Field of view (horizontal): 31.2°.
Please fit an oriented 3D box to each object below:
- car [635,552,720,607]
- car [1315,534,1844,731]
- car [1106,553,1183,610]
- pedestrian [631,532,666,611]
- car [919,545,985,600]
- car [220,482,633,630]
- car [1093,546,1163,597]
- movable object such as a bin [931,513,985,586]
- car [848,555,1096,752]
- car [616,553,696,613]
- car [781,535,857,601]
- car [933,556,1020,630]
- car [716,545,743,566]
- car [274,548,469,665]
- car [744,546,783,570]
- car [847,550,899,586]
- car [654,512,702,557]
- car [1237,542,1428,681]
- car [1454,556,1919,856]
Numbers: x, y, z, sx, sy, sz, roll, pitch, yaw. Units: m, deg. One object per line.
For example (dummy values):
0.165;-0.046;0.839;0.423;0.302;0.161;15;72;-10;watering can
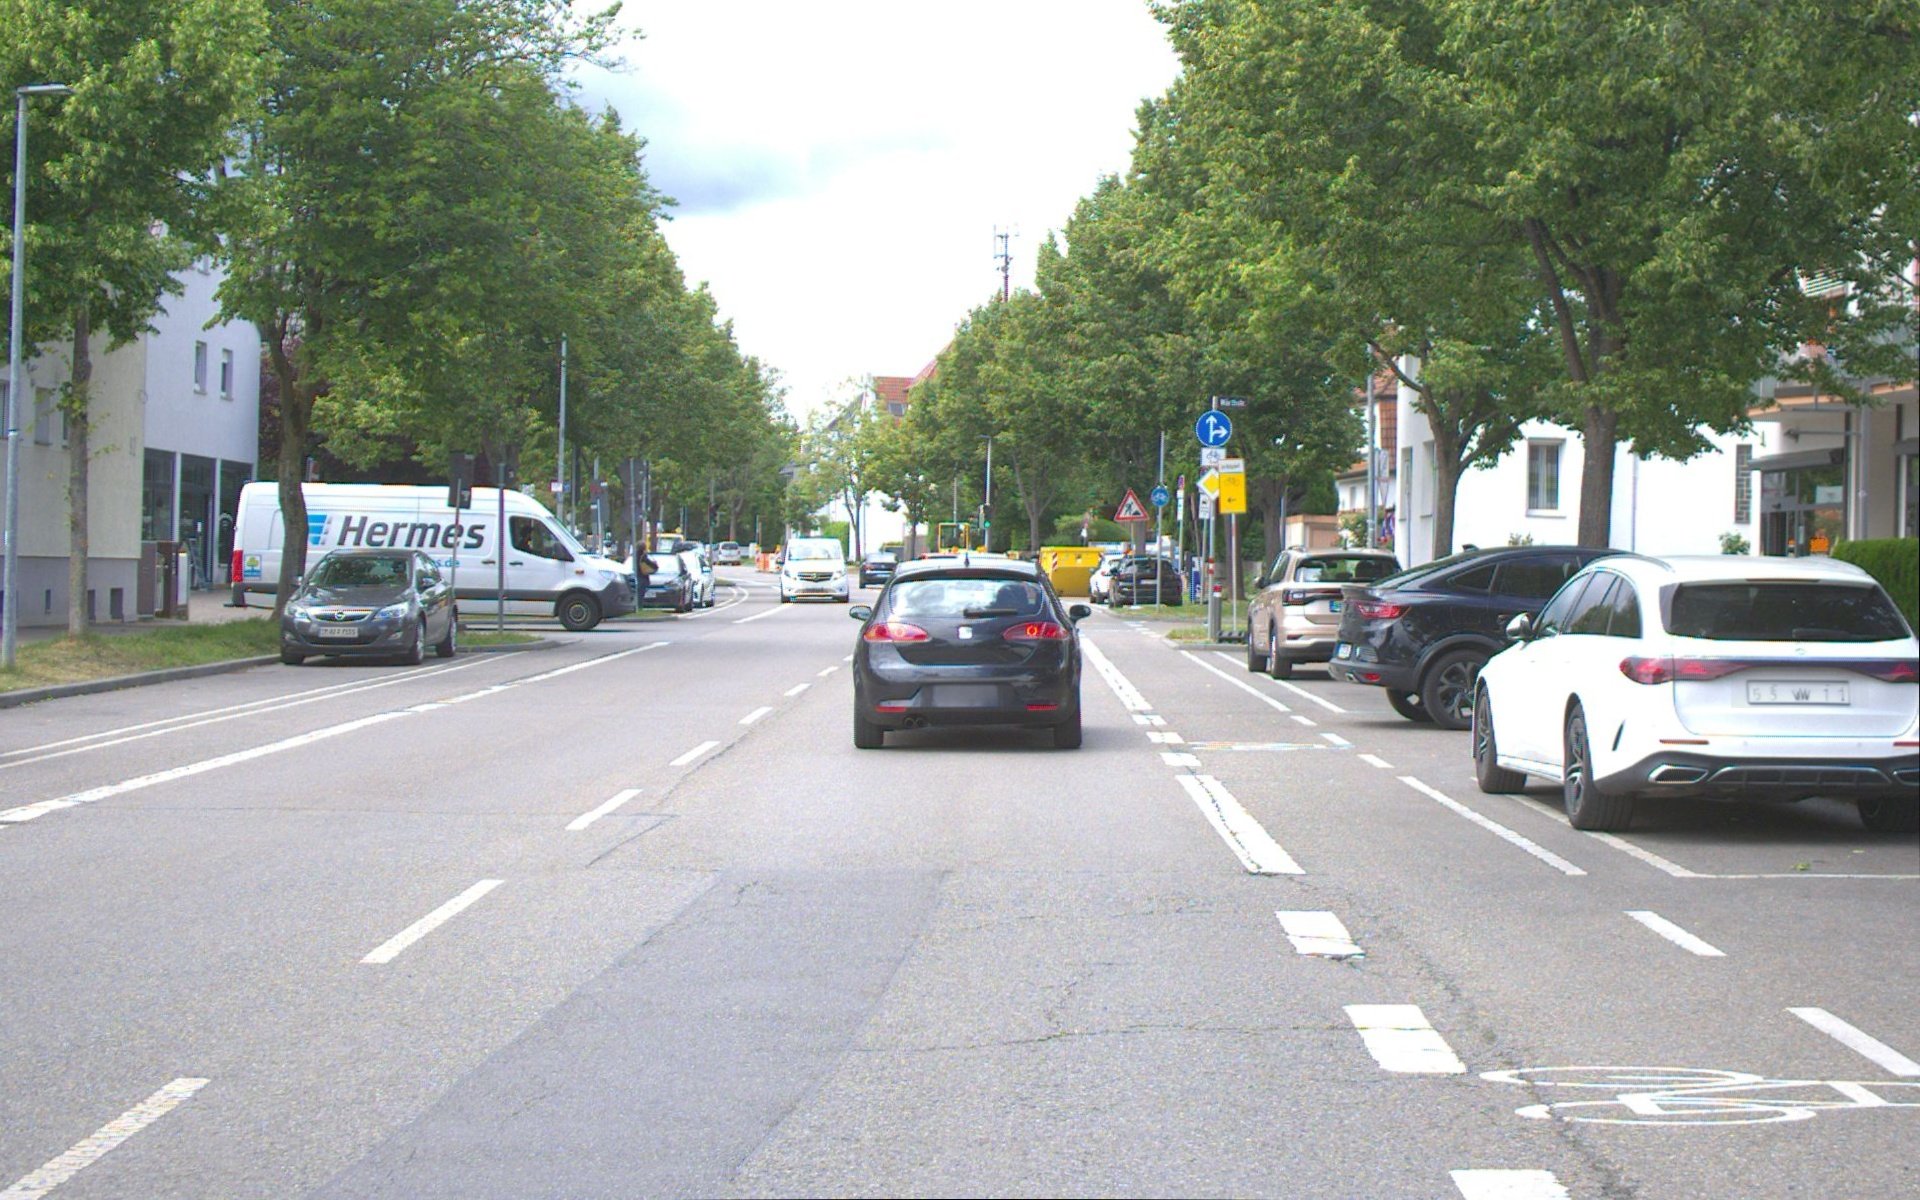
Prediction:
-7.363;-0.549;89.840;1.714;1.401;4.300;0;1;2;car
5.321;0.256;29.806;4.216;1.632;1.693;0;1;-5;car
4.851;-0.516;90.869;1.705;1.449;4.617;0;1;-1;car
-6.796;-0.630;75.079;0.542;1.675;0.750;2;2;9;pedestrian
-0.267;-0.854;104.470;1.790;1.617;3.740;0;1;-3;car
-9.729;-0.809;63.208;7.288;2.585;2.220;1;1;-3;car
4.909;-0.858;100.786;1.672;1.457;4.000;0;1;-2;car
-0.073;-1.811;122.845;1.768;2.565;3.740;1;1;-2;movable object such as a bin
0.029;0.371;27.100;1.819;1.433;3.740;0;1;-2;car
-7.333;-0.438;83.207;1.643;1.415;4.020;0;1;-1;car
-4.070;-0.943;99.680;1.966;1.824;4.819;1;1;0;car
0.412;-0.186;80.620;1.906;1.680;3.740;0;1;2;car
-16.501;-3.180;245.818;1.809;1.410;3.694;1;1;-5;car
-7.711;0.050;45.388;1.731;1.464;4.301;0;1;1;car
-11.683;-2.516;204.371;1.809;1.410;3.694;1;1;-11;car
-3.408;-1.245;133.668;1.809;1.370;3.694;1;1;-4;car
-14.136;-3.276;171.881;2.092;2.167;5.046;0;1;-8;car
4.442;0.104;41.509;1.722;1.575;4.061;1;1;-2;car
4.109;0.501;19.540;1.805;1.470;4.812;1;1;-1;car
